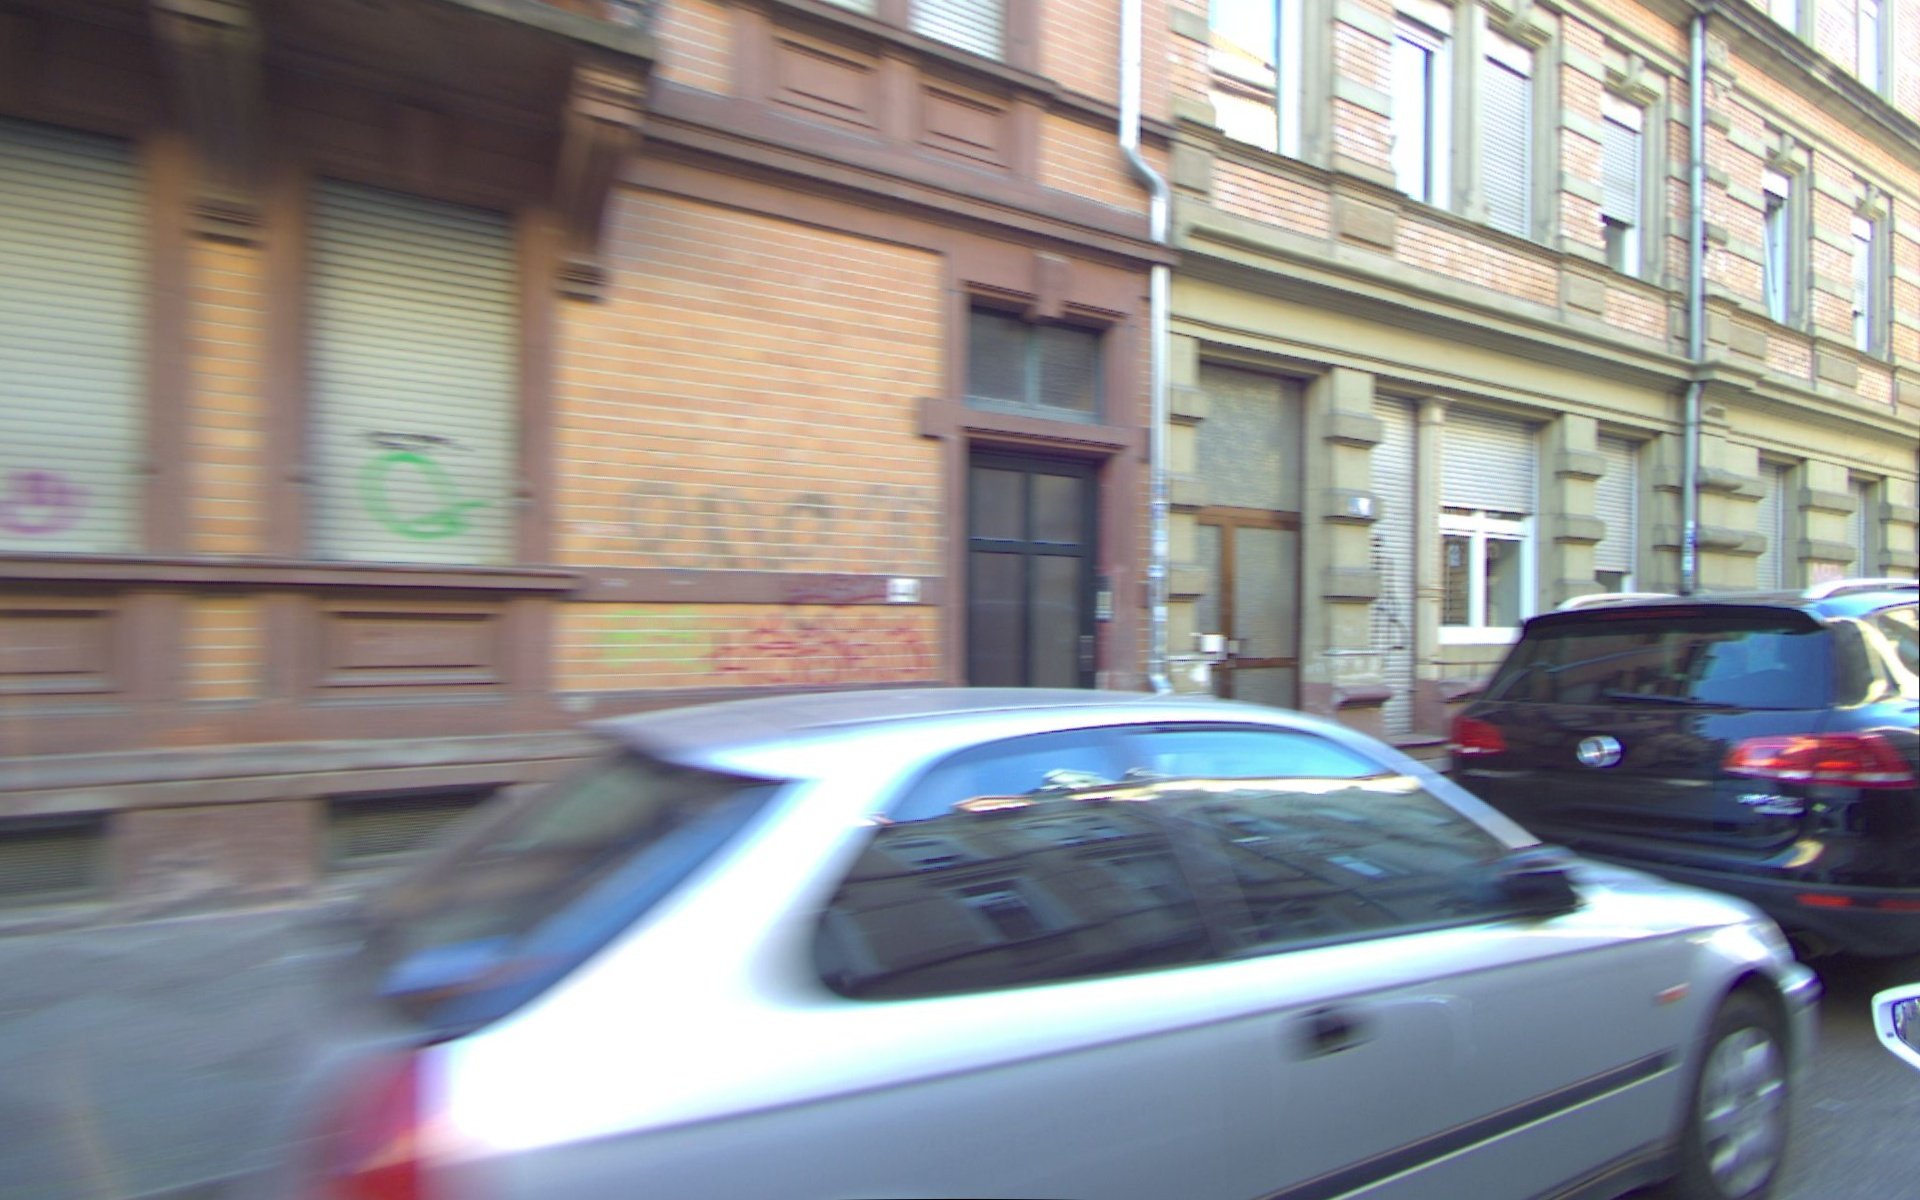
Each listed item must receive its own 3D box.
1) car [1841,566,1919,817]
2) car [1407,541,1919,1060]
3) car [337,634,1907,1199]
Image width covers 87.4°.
[{"bbox_3d":[9.144,0.712,7.964,4.553,1.808,1.883,1,1,-30],"label":"car"},{"bbox_3d":[4.533,0.662,5.104,4.553,1.646,1.779,1,1,-30],"label":"car"},{"bbox_3d":[0.669,0.837,2.721,3.954,1.331,1.690,2,2,-31],"label":"car"}]
